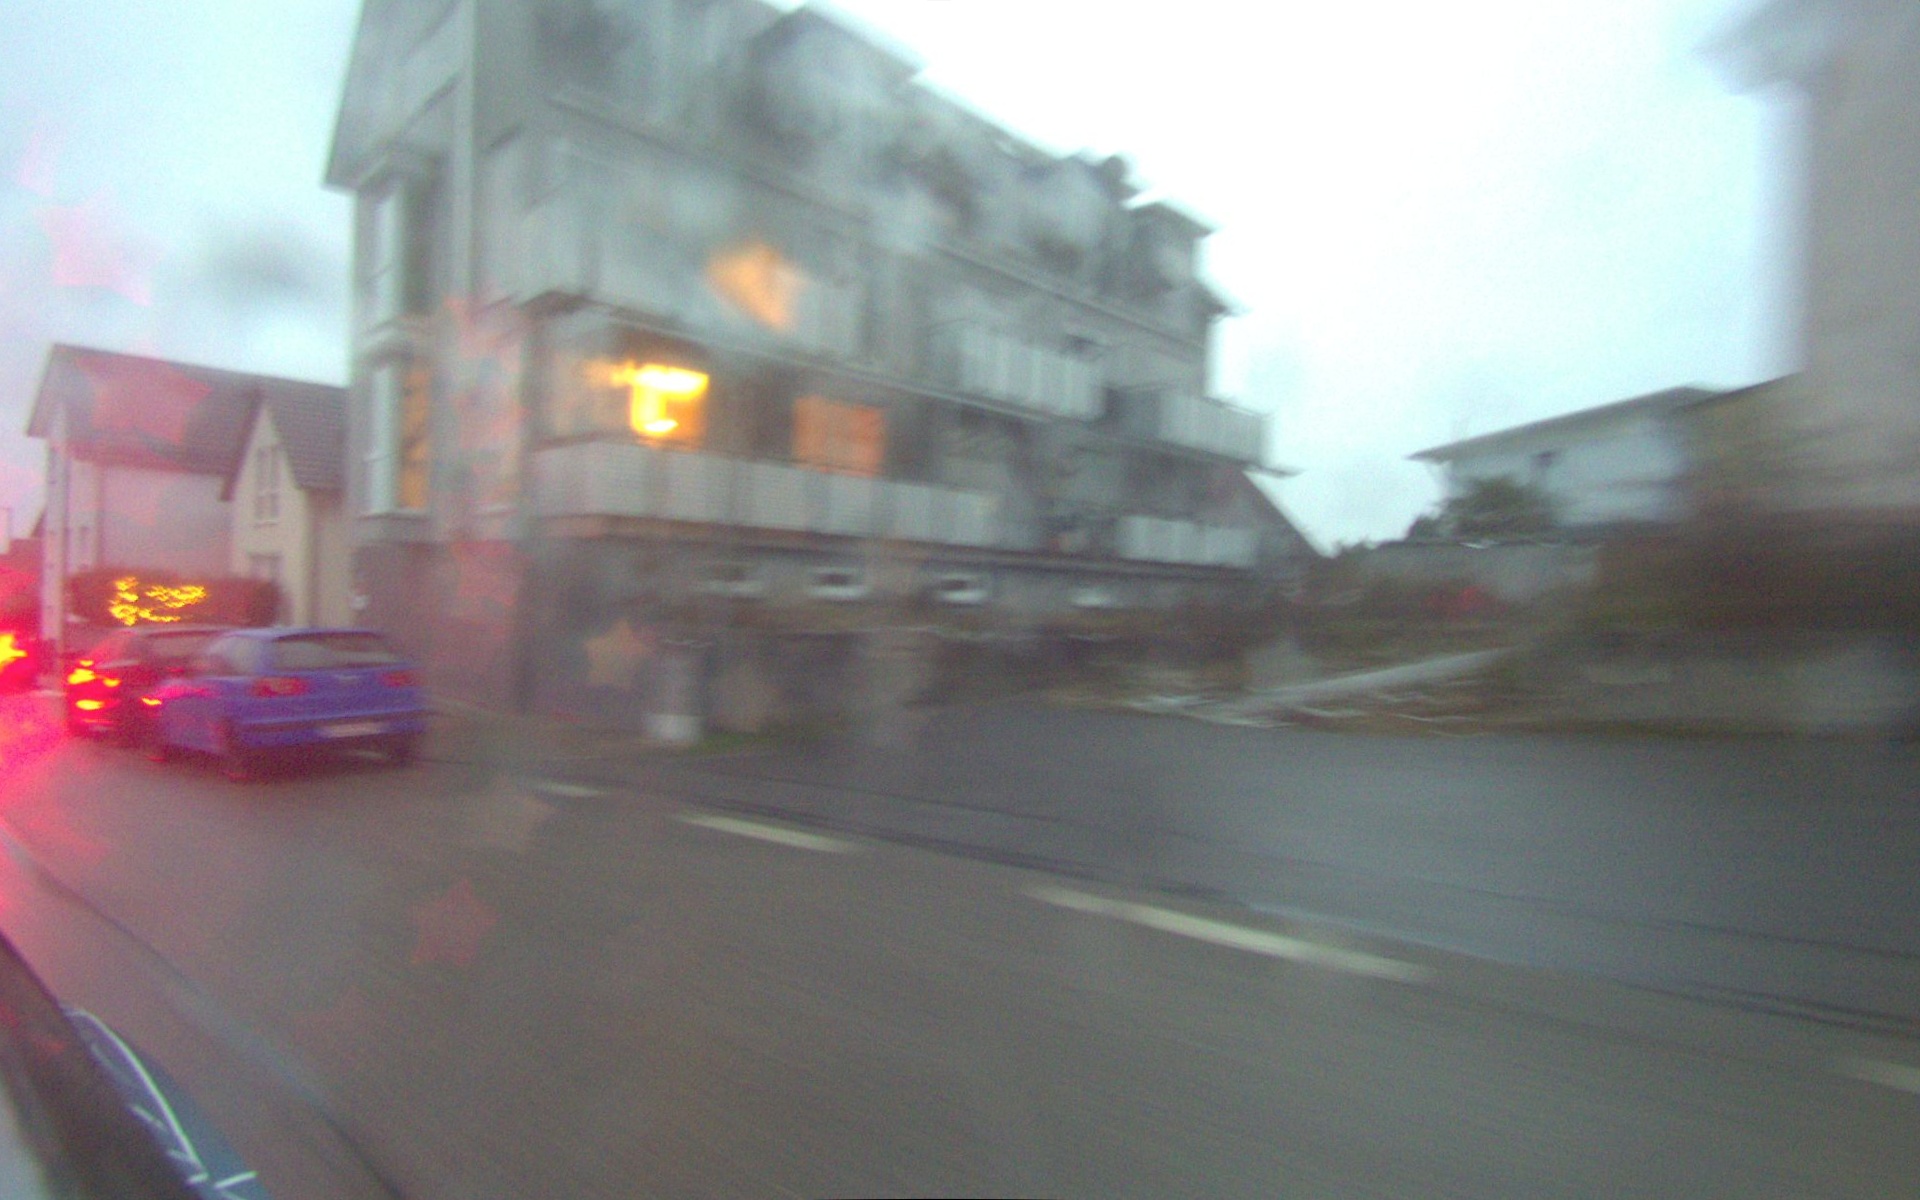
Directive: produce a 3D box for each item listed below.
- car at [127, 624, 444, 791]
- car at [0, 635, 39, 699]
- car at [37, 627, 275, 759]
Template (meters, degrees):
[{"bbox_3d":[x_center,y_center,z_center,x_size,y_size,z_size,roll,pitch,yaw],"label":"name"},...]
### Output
[{"bbox_3d":[-7.093,0.999,10.512,3.909,1.420,1.651,-2,-3,39],"label":"car"},{"bbox_3d":[-23.622,1.581,24.144,4.433,1.455,1.717,-2,-3,38],"label":"car"},{"bbox_3d":[-10.447,1.096,13.072,3.686,1.428,1.648,-2,-1,39],"label":"car"}]
